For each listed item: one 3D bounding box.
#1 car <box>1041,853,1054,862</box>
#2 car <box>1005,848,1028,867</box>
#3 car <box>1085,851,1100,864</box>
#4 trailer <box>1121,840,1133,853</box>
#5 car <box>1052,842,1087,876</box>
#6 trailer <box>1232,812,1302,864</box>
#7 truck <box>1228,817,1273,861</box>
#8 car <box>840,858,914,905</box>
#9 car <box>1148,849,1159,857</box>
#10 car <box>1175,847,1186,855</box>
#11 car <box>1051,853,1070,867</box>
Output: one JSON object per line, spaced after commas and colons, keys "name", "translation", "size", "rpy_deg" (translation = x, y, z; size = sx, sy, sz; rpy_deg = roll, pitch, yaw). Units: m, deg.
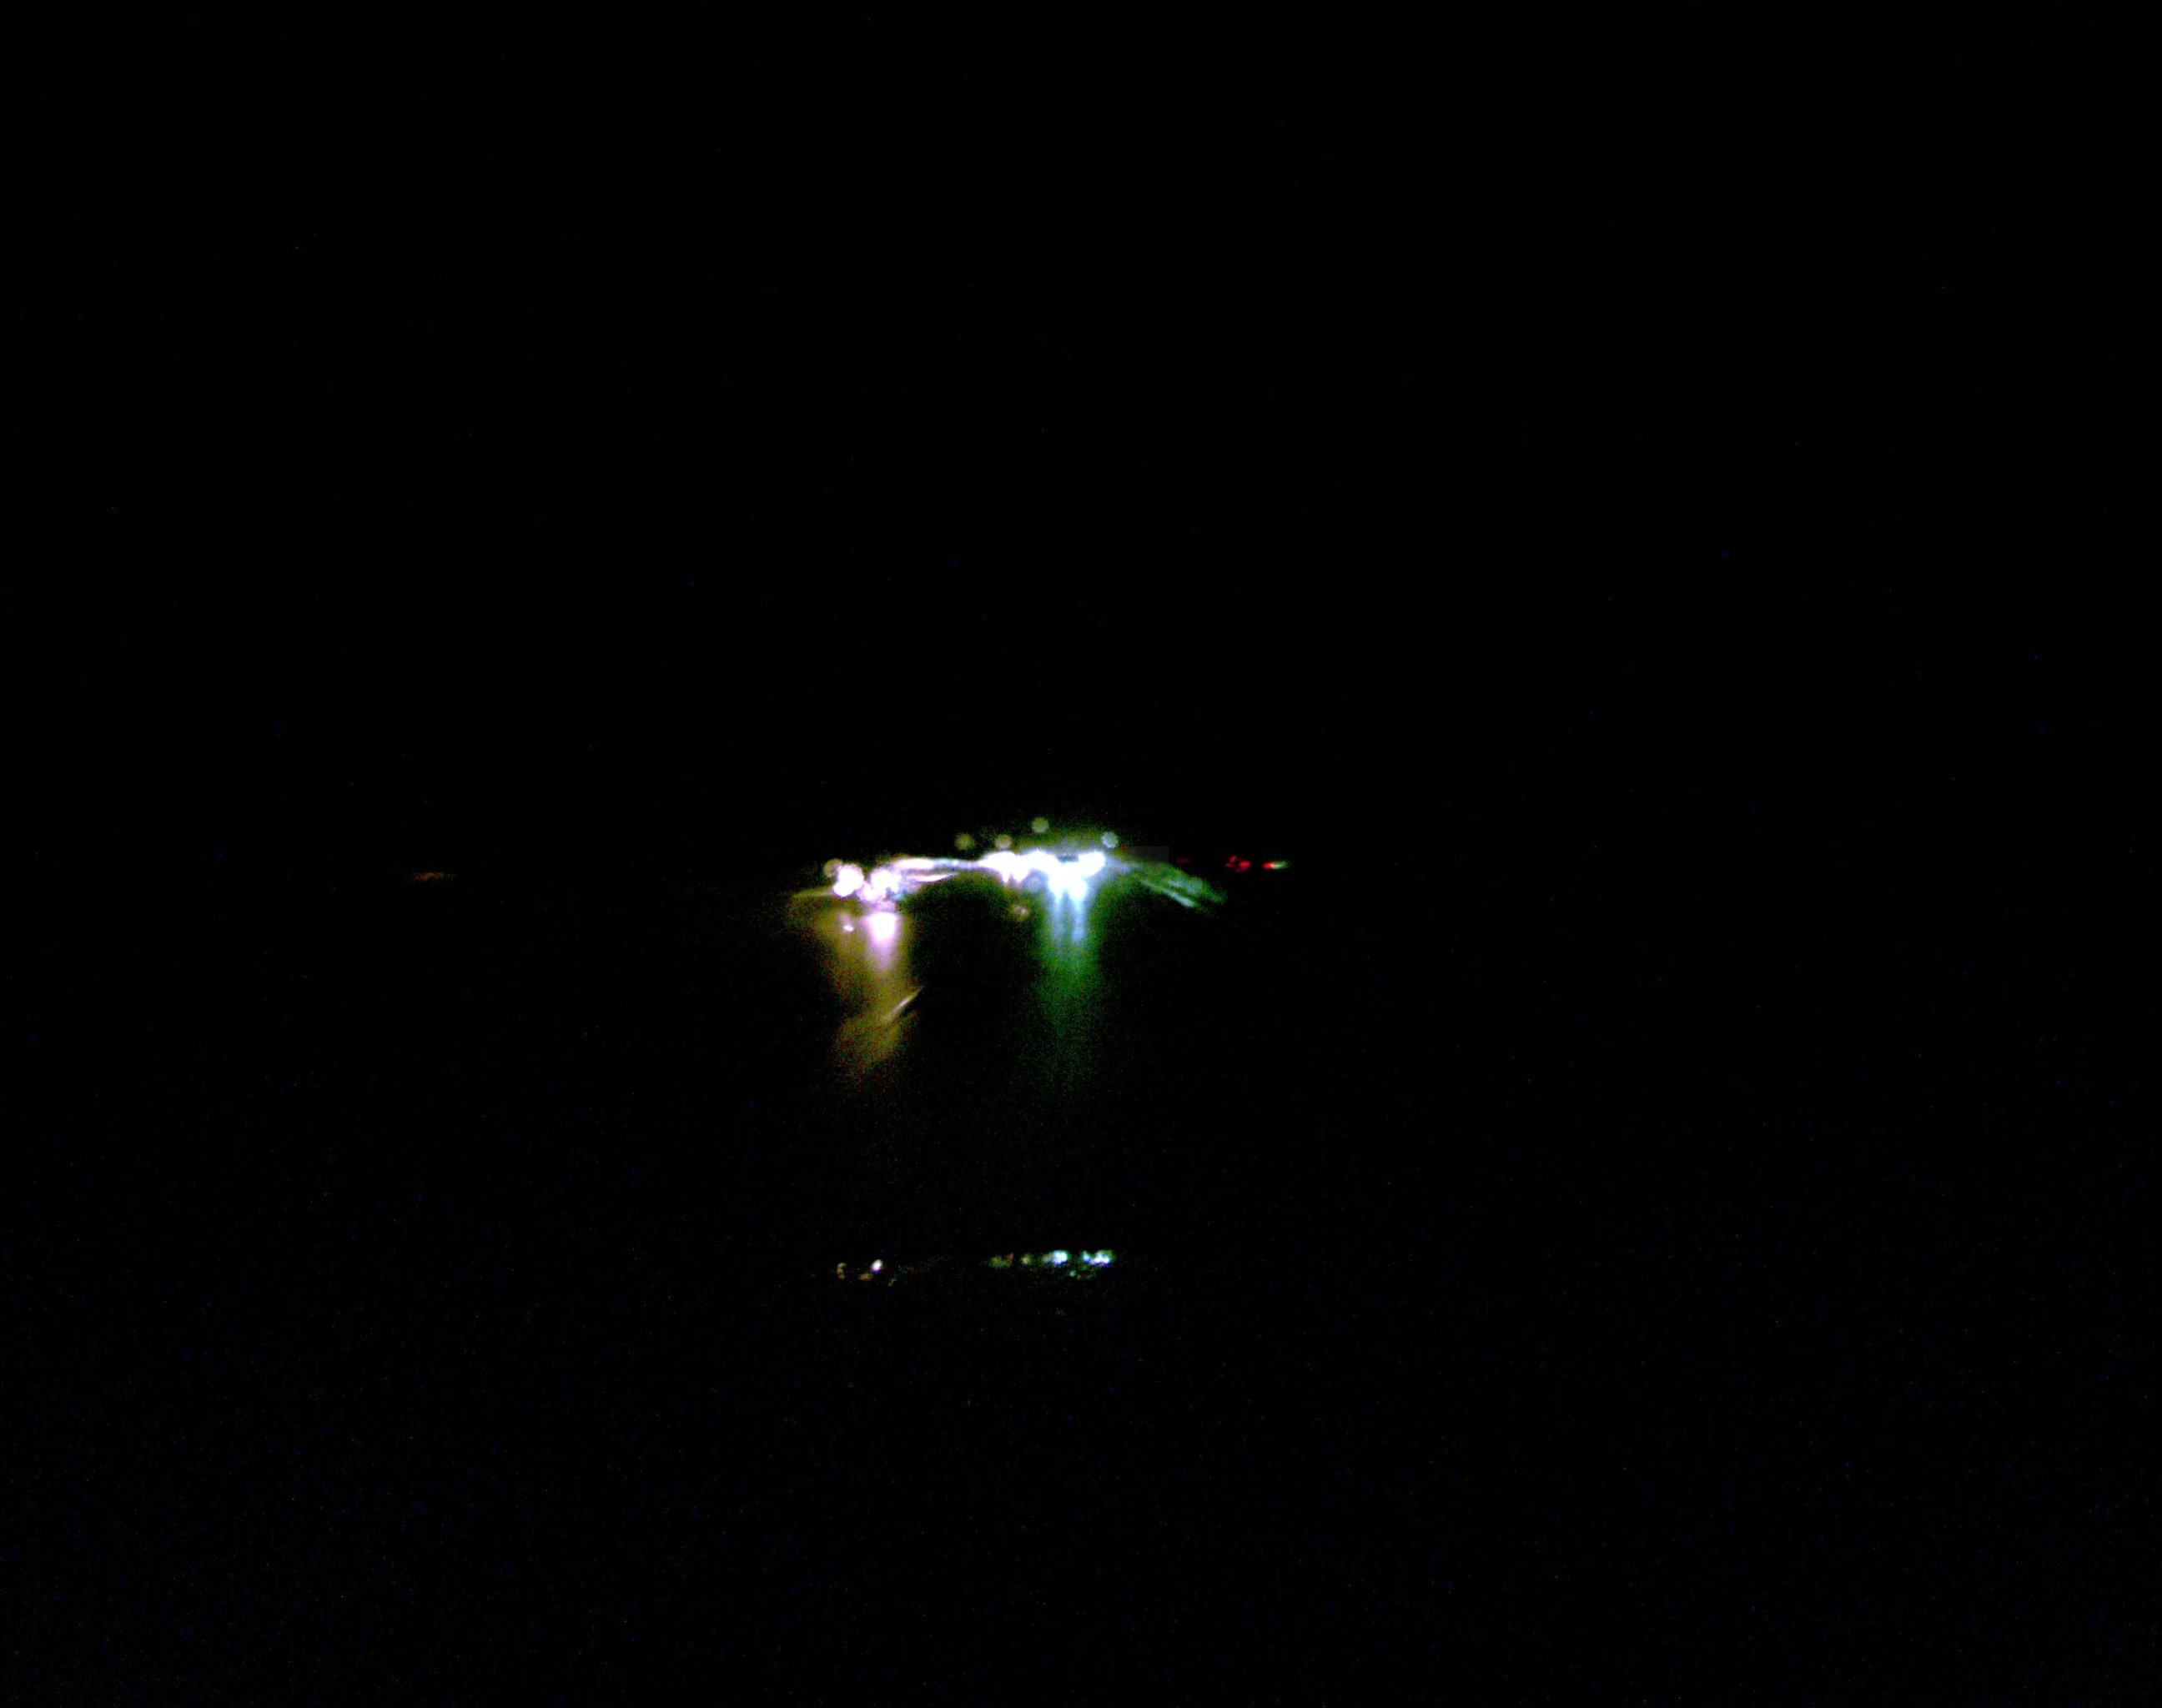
{"name": "car", "translation": [-6.092, 0.659, 137.732], "size": [1.882, 1.654, 4.002], "rpy_deg": [-3, 0, 4]}
{"name": "car", "translation": [-6.628, 0.388, 78.660], "size": [1.832, 1.835, 4.699], "rpy_deg": [-3, 0, 1]}
{"name": "car", "translation": [1.566, 0.465, 102.429], "size": [1.883, 1.654, 4.000], "rpy_deg": [-3, 0, 1]}
{"name": "trailer", "translation": [16.191, -2.732, 266.852], "size": [2.698, 4.352, 14.627], "rpy_deg": [-2, 0, -2]}
{"name": "car", "translation": [-0.778, 0.290, 48.324], "size": [1.999, 2.002, 3.999], "rpy_deg": [-2, 0, -3]}
{"name": "trailer", "translation": [17.564, -1.455, 73.095], "size": [2.980, 4.244, 14.860], "rpy_deg": [-5, 1, 1]}
{"name": "truck", "translation": [17.627, -1.548, 79.370], "size": [2.980, 4.244, 6.503], "rpy_deg": [-5, 1, 1]}
{"name": "car", "translation": [-7.156, 0.921, 27.043], "size": [1.644, 1.494, 4.012], "rpy_deg": [-1, 0, -2]}
{"name": "car", "translation": [15.805, -0.173, 165.324], "size": [1.998, 1.749, 4.590], "rpy_deg": [0, 0, 1]}
{"name": "car", "translation": [22.288, -0.695, 169.789], "size": [1.998, 1.704, 4.246], "rpy_deg": [0, 0, 1]}
{"name": "car", "translation": [-2.600, 0.771, 95.707], "size": [1.882, 1.654, 4.002], "rpy_deg": [-3, 0, 4]}
